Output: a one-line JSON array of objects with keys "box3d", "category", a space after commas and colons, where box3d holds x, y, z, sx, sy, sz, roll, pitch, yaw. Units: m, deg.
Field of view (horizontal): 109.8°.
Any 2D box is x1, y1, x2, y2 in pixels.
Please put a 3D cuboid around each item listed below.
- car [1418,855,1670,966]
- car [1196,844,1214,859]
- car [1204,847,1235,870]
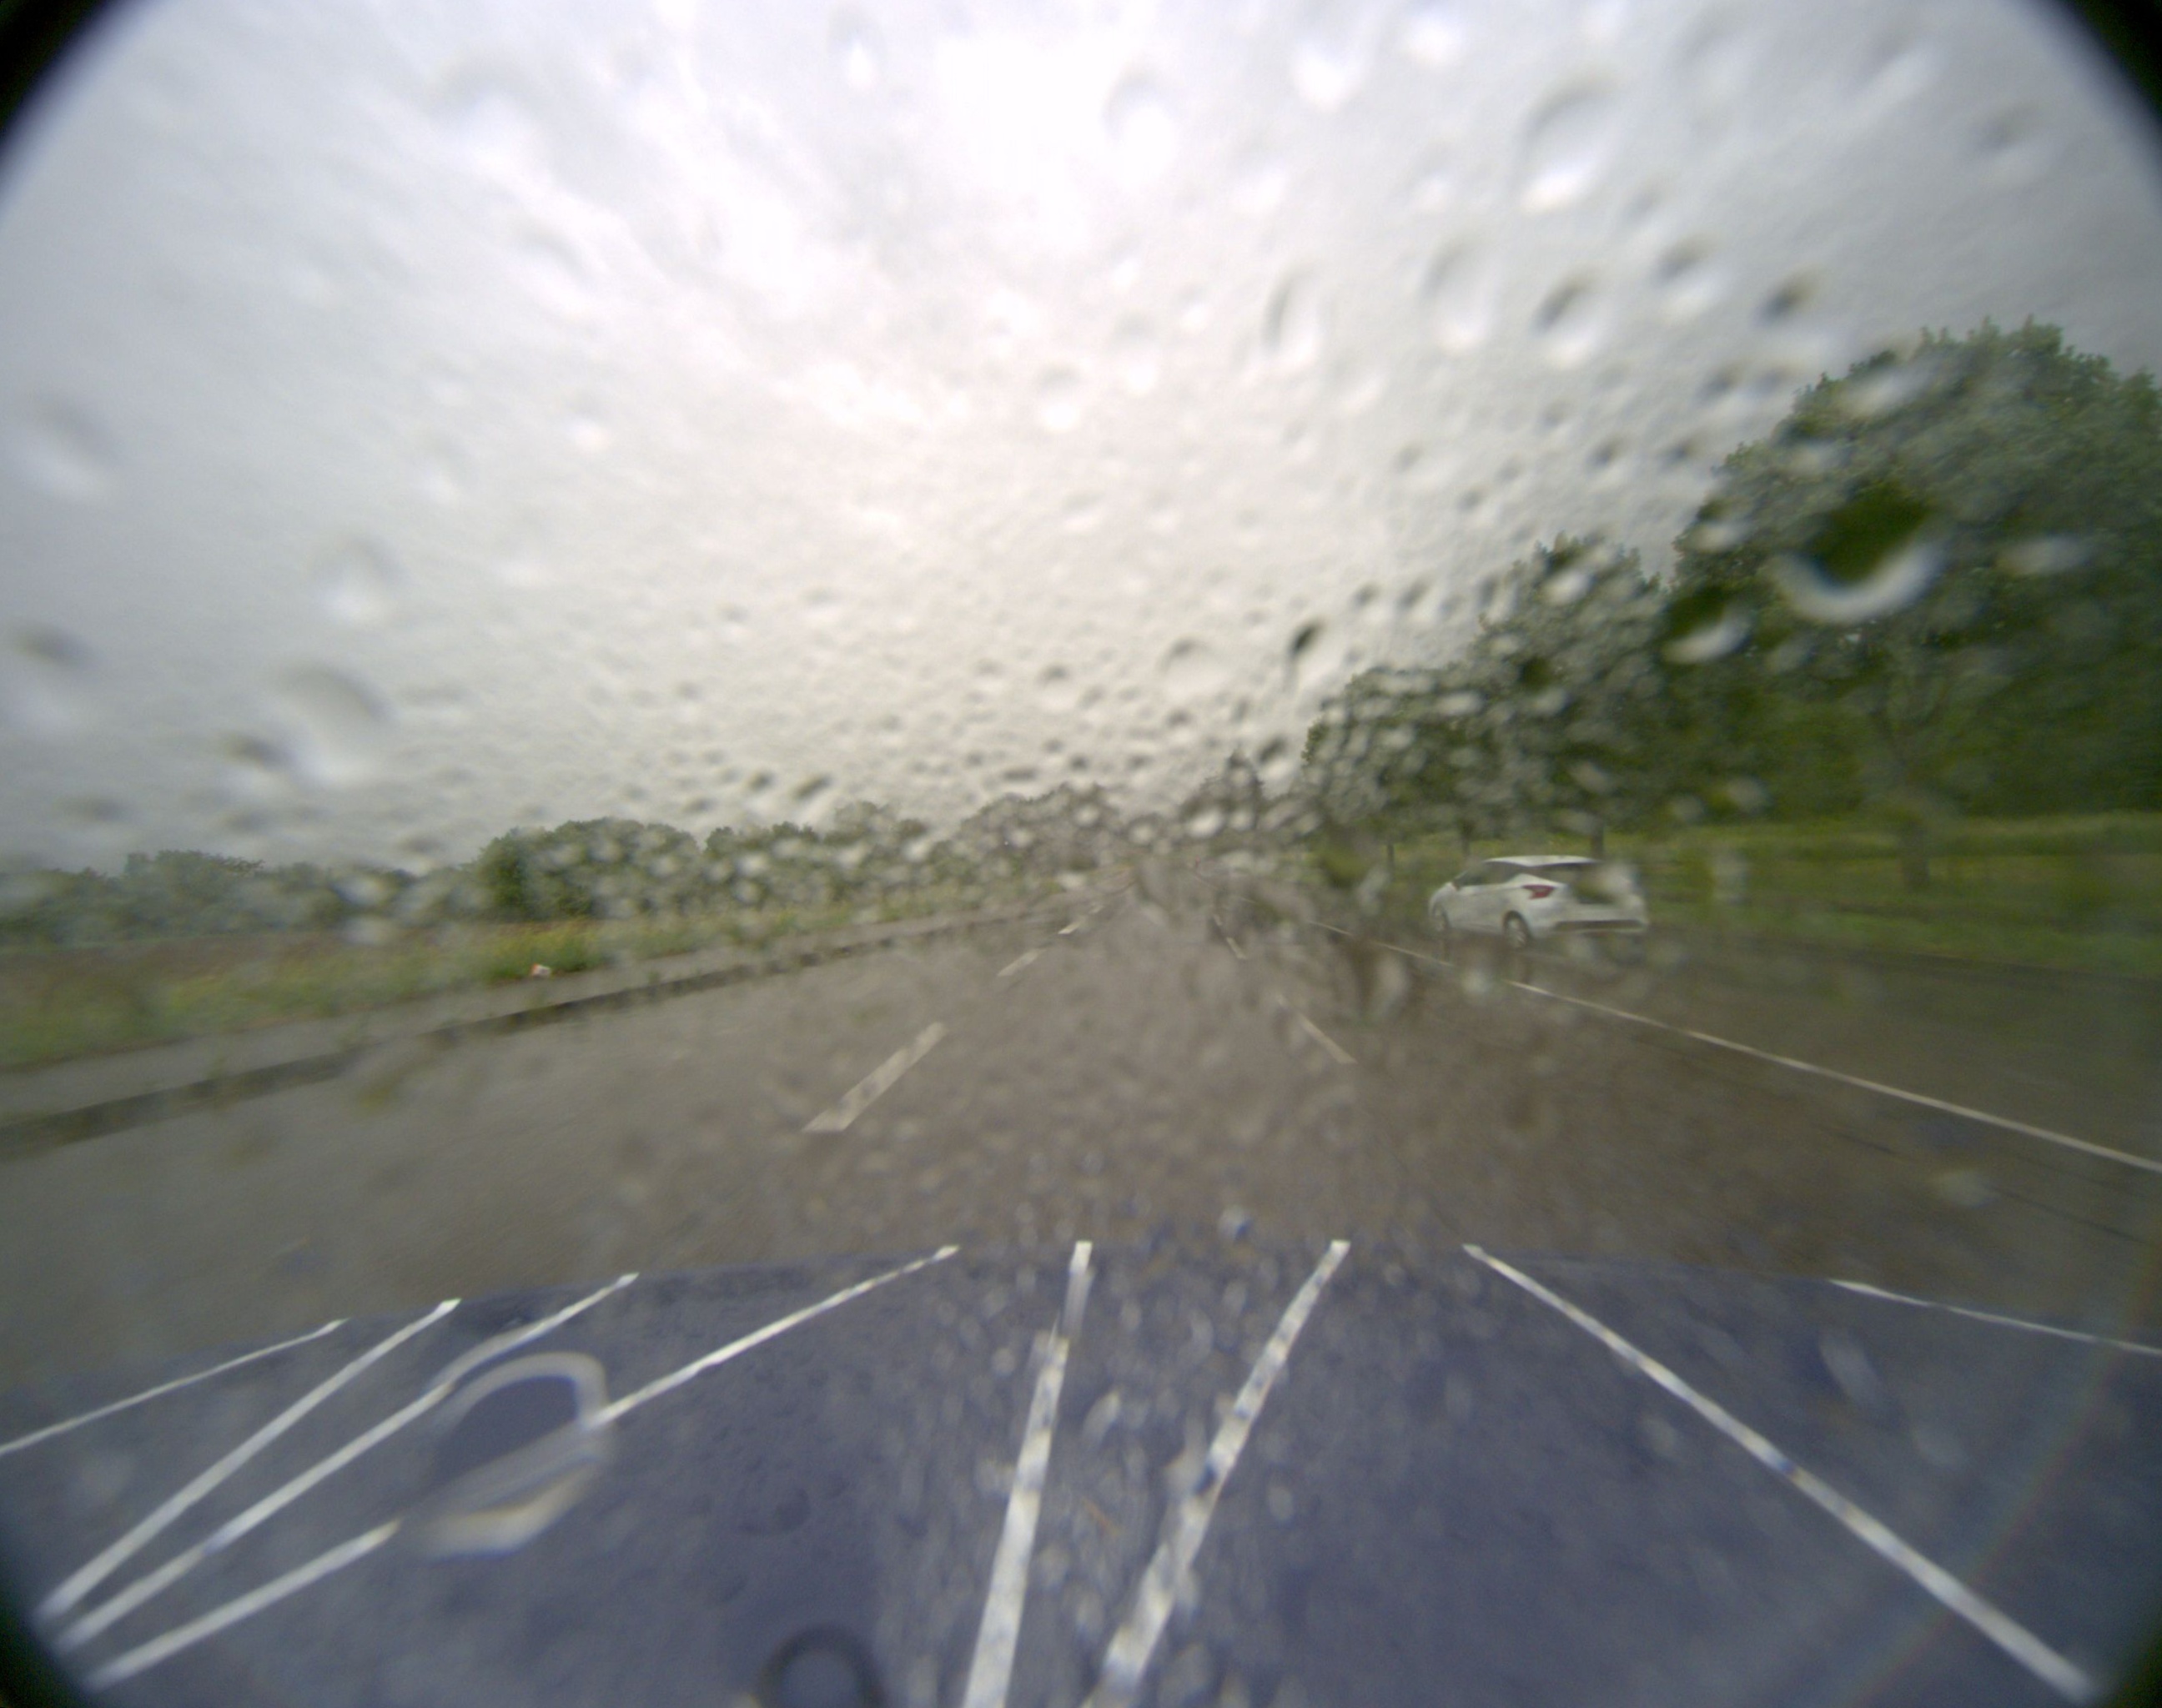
[{"box3d": [7.315, 0.788, 12.550, 1.743, 1.478, 4.011, -1, 0, 1], "category": "car"}, {"box3d": [14.625, -0.317, 89.931, 1.745, 1.694, 4.224, -1, 0, 4], "category": "car"}, {"box3d": [10.977, 0.310, 60.643, 1.928, 1.733, 4.289, -1, 0, 4], "category": "car"}]
